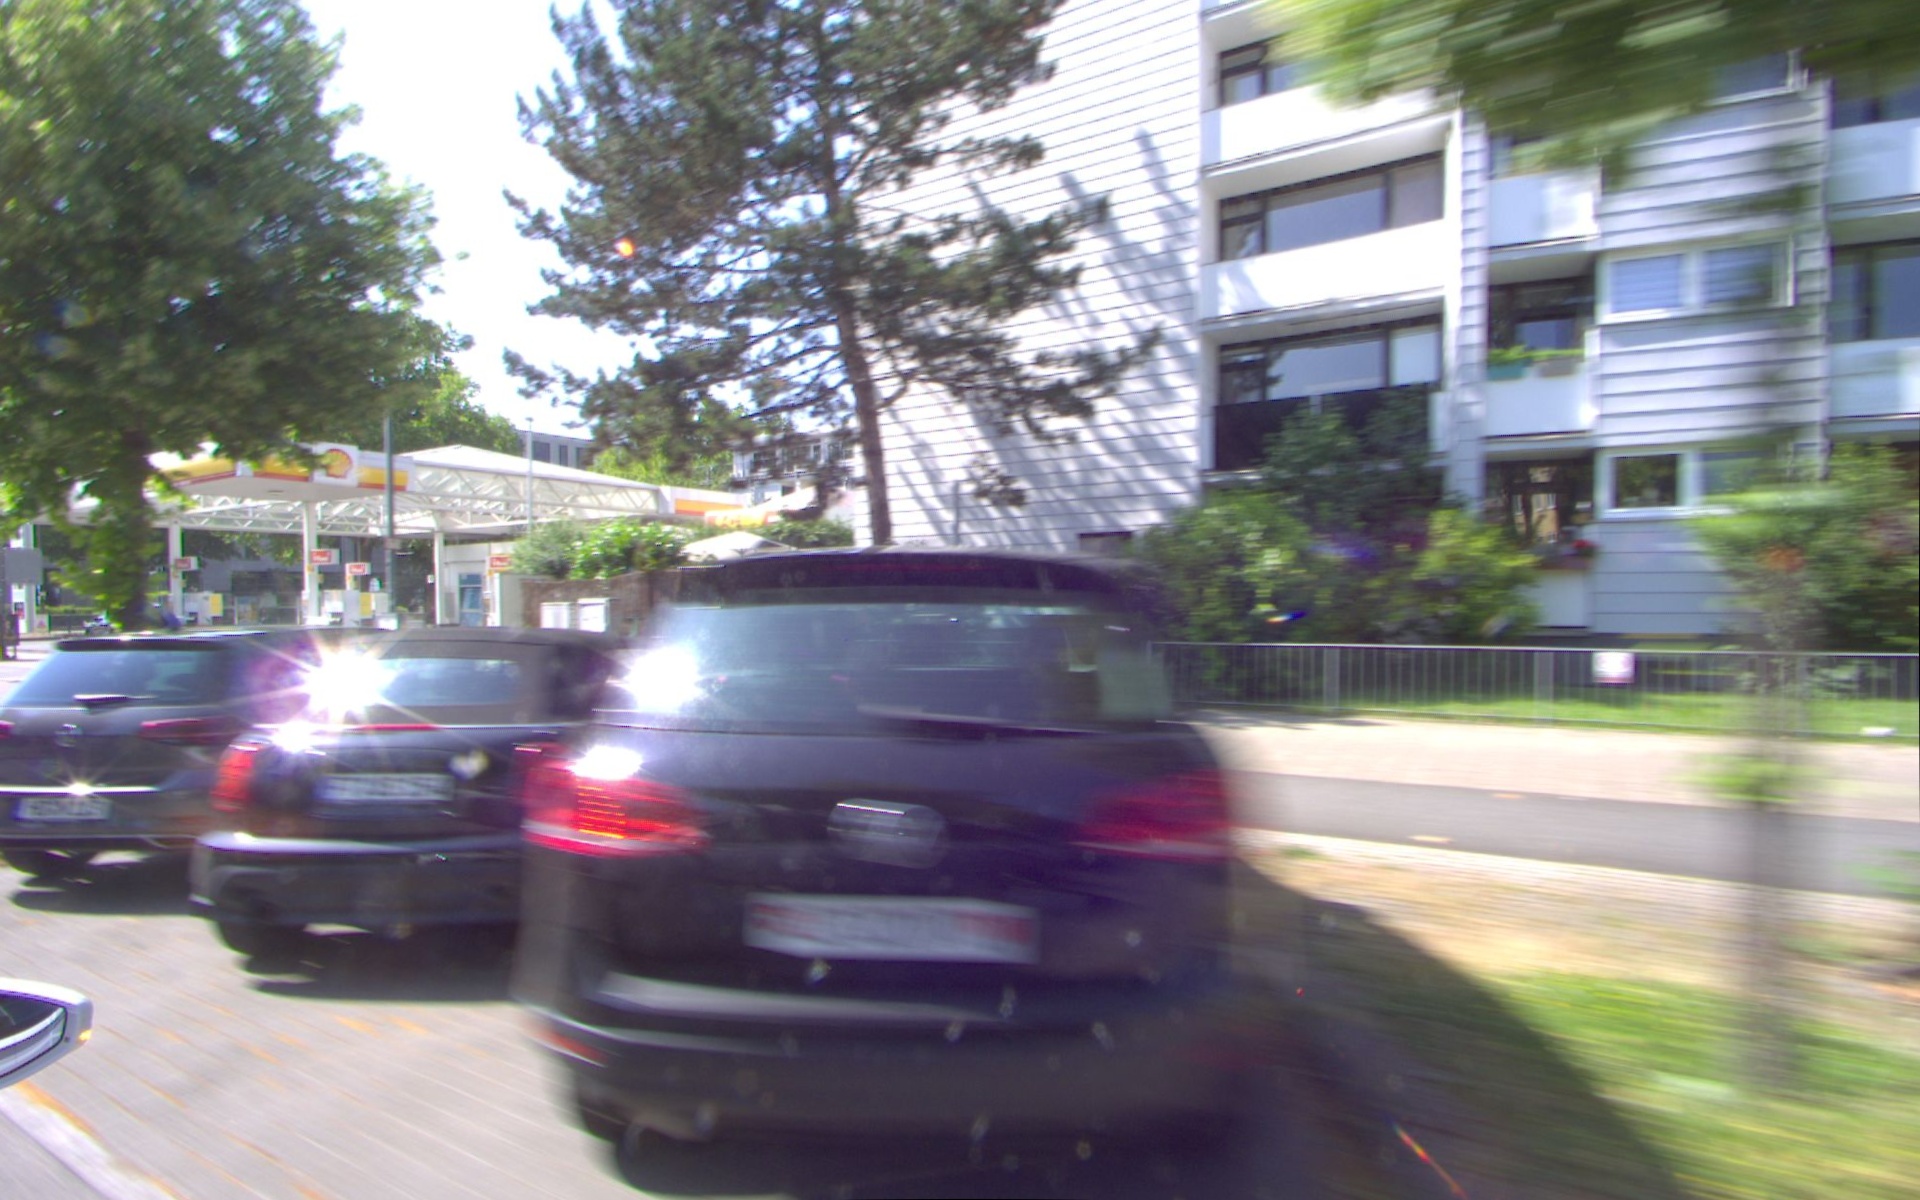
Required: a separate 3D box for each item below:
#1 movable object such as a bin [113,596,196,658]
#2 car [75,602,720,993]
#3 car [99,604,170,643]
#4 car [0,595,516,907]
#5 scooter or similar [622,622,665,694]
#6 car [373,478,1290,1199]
[{"bbox_3d":[-22.159,0.718,27.558,1.375,1.614,1.305,0,3,30],"label":"movable object such as a bin"},{"bbox_3d":[-2.643,0.770,5.886,1.735,1.493,3.999,0,0,-4],"label":"car"},{"bbox_3d":[-31.733,0.868,38.469,3.602,1.416,1.641,-1,0,43],"label":"car"},{"bbox_3d":[-4.874,0.768,7.040,1.961,1.550,4.116,0,0,-5],"label":"car"},{"bbox_3d":[-5.416,0.978,17.100,0.946,1.181,0.229,0,1,40],"label":"scooter or similar"},{"bbox_3d":[-0.166,0.631,4.254,1.719,1.682,4.746,0,0,2],"label":"car"}]
